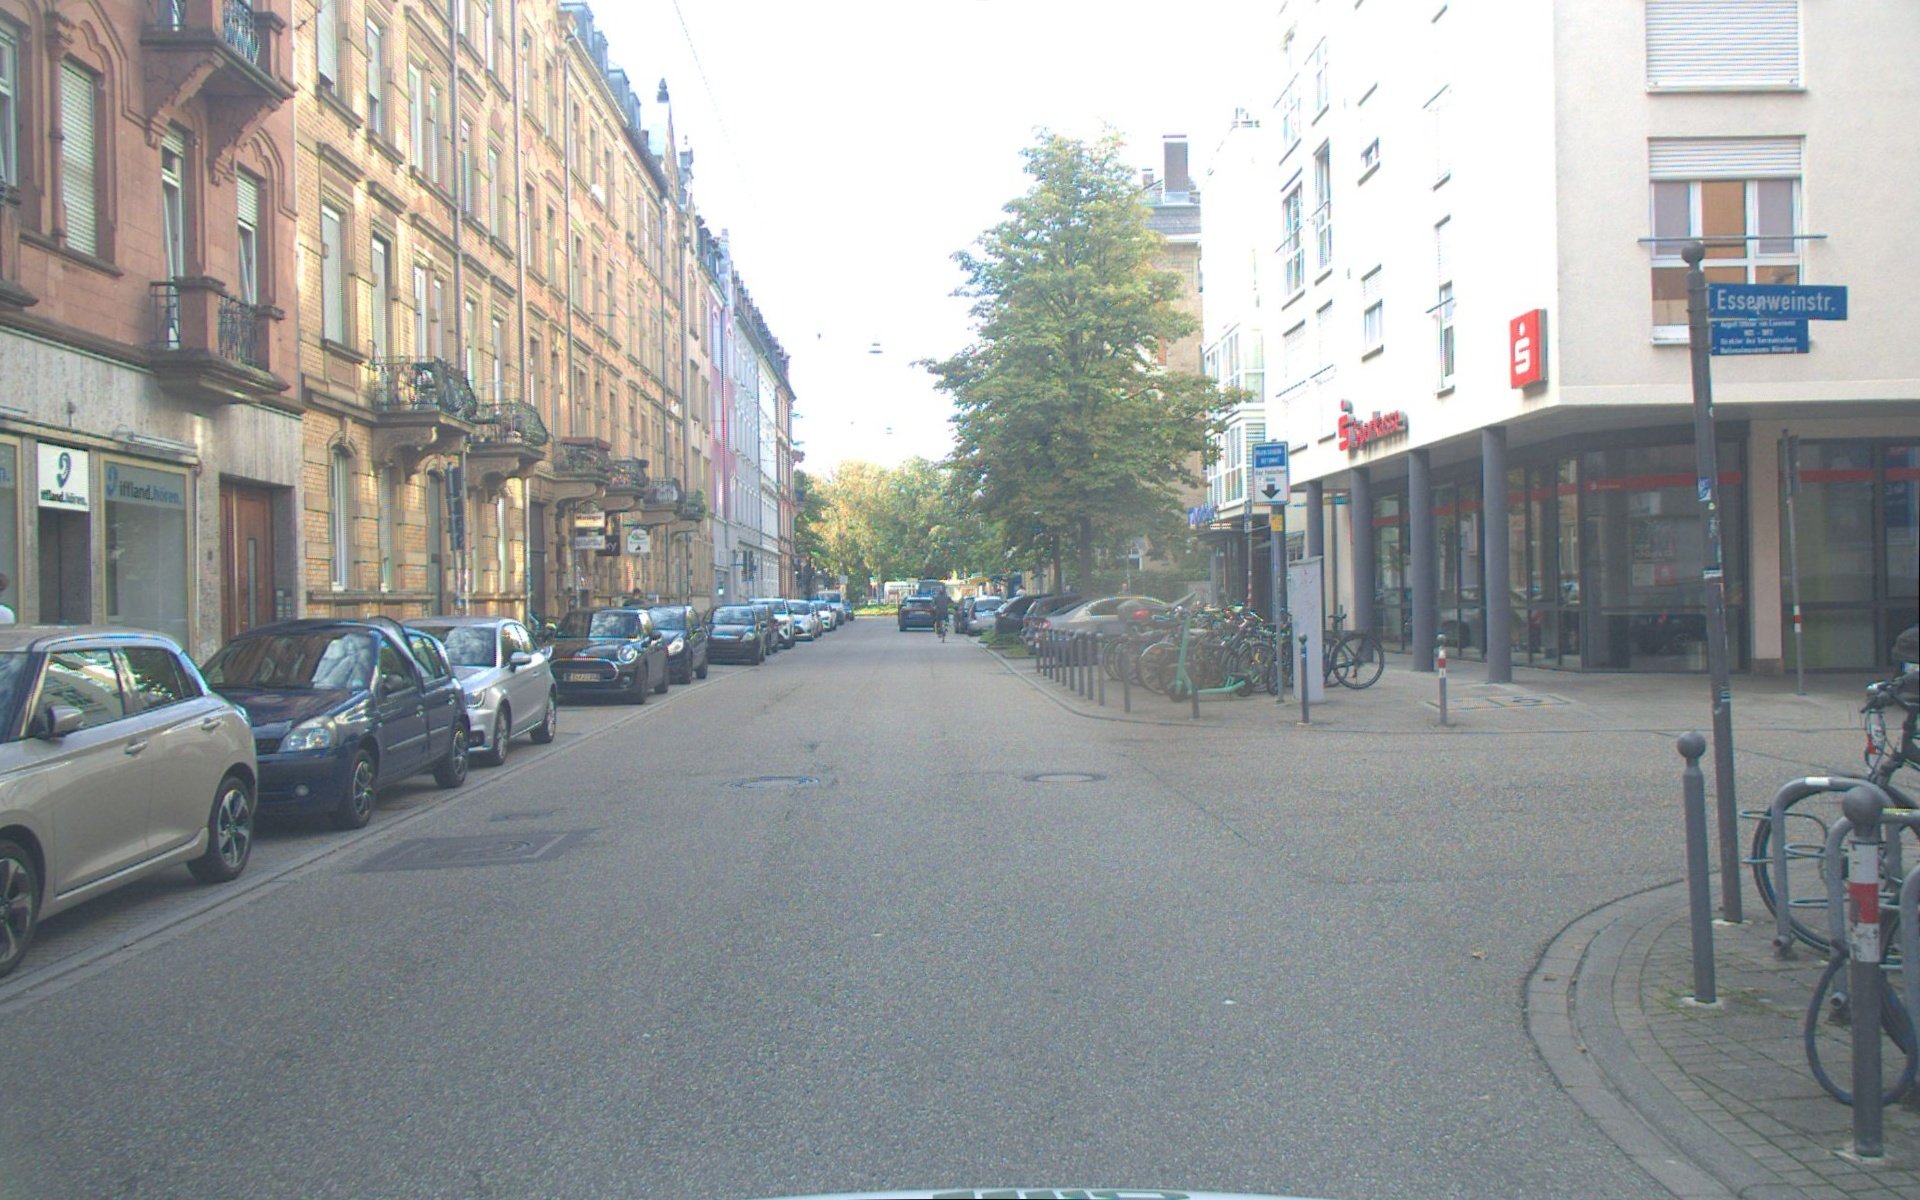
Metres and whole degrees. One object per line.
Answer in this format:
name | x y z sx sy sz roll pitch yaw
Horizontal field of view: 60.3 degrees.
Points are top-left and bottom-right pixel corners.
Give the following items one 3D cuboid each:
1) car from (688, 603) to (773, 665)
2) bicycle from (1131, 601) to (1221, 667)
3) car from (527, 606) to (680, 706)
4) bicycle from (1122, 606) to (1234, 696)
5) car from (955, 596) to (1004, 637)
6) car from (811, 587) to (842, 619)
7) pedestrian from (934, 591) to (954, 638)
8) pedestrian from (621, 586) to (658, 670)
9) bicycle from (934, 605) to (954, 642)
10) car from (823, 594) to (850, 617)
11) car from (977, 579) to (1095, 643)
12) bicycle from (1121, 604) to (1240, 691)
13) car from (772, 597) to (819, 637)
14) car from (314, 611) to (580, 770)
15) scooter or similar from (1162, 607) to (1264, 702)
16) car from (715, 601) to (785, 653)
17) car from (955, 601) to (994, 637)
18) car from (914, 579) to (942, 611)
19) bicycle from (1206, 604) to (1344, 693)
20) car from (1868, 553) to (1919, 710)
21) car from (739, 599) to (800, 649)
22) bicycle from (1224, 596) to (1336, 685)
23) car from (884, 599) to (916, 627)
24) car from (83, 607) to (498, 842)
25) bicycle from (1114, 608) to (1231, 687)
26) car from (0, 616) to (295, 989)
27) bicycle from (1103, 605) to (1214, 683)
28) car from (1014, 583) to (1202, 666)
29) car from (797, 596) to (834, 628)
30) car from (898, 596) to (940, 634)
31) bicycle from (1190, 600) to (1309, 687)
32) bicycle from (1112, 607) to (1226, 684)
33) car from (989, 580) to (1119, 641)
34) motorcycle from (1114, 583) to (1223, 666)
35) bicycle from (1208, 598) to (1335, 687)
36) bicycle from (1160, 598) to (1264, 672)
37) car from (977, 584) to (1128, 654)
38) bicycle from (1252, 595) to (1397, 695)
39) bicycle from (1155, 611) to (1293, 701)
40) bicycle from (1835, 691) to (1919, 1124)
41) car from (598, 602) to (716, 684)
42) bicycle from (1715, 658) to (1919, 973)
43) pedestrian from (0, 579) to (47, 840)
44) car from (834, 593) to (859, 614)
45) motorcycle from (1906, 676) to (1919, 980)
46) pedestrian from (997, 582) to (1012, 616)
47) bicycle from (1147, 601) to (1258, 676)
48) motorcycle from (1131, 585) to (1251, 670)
car | -5.825 0.831 42.395 1.656 1.393 3.866 3 0 -1
bicycle | 4.233 0.666 32.468 1.630 1.179 0.557 -4 1 0
car | -5.538 0.826 26.112 1.656 1.411 3.866 0 0 -1
bicycle | 3.101 0.715 23.577 1.467 1.166 0.411 -4 1 -7
car | 0.794 0.667 69.315 1.891 1.667 3.999 0 0 -1
car | -7.896 0.199 98.094 1.656 1.853 3.865 0 0 -2
pedestrian | -0.572 0.511 59.240 0.703 1.679 0.930 0 0 -1
pedestrian | -7.316 0.625 37.793 0.675 1.886 0.931 0 0 0
bicycle | -0.574 0.824 59.265 0.703 1.296 1.883 0 0 -1
car | -8.450 0.364 113.388 1.656 1.577 3.865 0 0 -2
car | 2.604 0.363 57.056 3.904 1.712 1.739 -4 8 2
bicycle | 3.302 0.694 24.754 1.741 1.166 0.409 -4 1 -22
car | -6.629 0.681 66.740 1.656 1.577 3.865 0 0 -2
car | -5.211 0.857 17.320 1.656 1.411 3.866 0 0 -1
scooter or similar | 3.303 0.714 21.606 1.183 1.167 0.378 -3 1 30
car | -6.279 0.797 49.789 1.656 1.393 3.866 3 0 -1
car | 0.637 0.825 73.964 1.656 1.577 3.687 0 0 -1
car | -2.113 -0.339 108.336 1.746 2.055 3.886 0 0 -3
bicycle | 4.350 0.664 22.896 1.729 1.106 0.650 -4 1 0
car | 12.372 0.295 17.755 4.273 1.658 1.808 -1 2 -1
car | -6.269 0.763 54.677 1.656 1.577 3.866 0 0 -1
bicycle | 4.579 0.574 23.687 1.465 1.166 0.411 -4 0 -2
car | -3.408 0.709 93.870 1.761 1.497 3.886 0 0 -3
car | -5.010 0.835 13.001 1.706 1.509 3.982 0 0 -1
bicycle | 3.349 0.740 26.119 1.729 1.118 0.411 -4 0 1
car | -4.914 0.870 8.185 1.706 1.509 3.982 0 0 -1
bicycle | 3.331 0.728 27.797 1.757 1.179 0.500 -4 0 1
car | 3.223 0.534 36.271 3.695 1.573 1.725 -3 -1 -12
car | -7.159 0.576 82.058 1.656 1.577 3.865 0 0 -2
car | -1.968 0.722 79.022 1.925 1.771 4.039 0 -1 -2
bicycle | 4.333 0.637 24.721 1.741 1.166 0.409 -4 1 -22
bicycle | 3.387 0.735 26.865 1.729 1.138 0.411 -4 0 1
car | 2.953 0.313 51.970 3.904 1.668 2.001 -3 0 3
motorcycle | 4.279 0.496 34.064 2.106 1.557 0.686 -4 0 3
bicycle | 4.566 0.617 24.226 1.732 1.166 0.411 -4 1 -8
bicycle | 4.446 0.619 29.235 1.697 1.179 0.500 -4 0 0
car | 2.503 0.498 44.869 3.904 1.611 2.001 -3 0 3
bicycle | 4.804 0.589 21.864 1.729 1.182 0.650 -4 1 0
bicycle | 3.543 0.738 22.226 1.732 1.075 0.411 -4 1 -7
bicycle | 3.302 0.813 4.232 1.738 1.114 0.680 -3 0 41
car | -5.825 0.786 32.138 1.656 1.462 3.866 0 0 -1
bicycle | 3.906 0.778 6.061 1.927 1.114 0.686 -3 -1 41
pedestrian | -7.097 0.758 11.820 0.717 1.821 0.770 2 0 -8
car | -8.543 0.239 124.590 1.555 1.566 3.752 0 0 0
motorcycle | 3.900 0.778 5.052 1.635 1.114 0.605 -3 0 41
pedestrian | 3.004 -0.083 112.065 0.975 2.269 0.898 0 0 -1
bicycle | 4.137 0.659 28.230 1.758 1.179 0.500 -3 1 24
motorcycle | 4.335 0.508 31.126 2.106 1.459 0.765 -4 1 3
